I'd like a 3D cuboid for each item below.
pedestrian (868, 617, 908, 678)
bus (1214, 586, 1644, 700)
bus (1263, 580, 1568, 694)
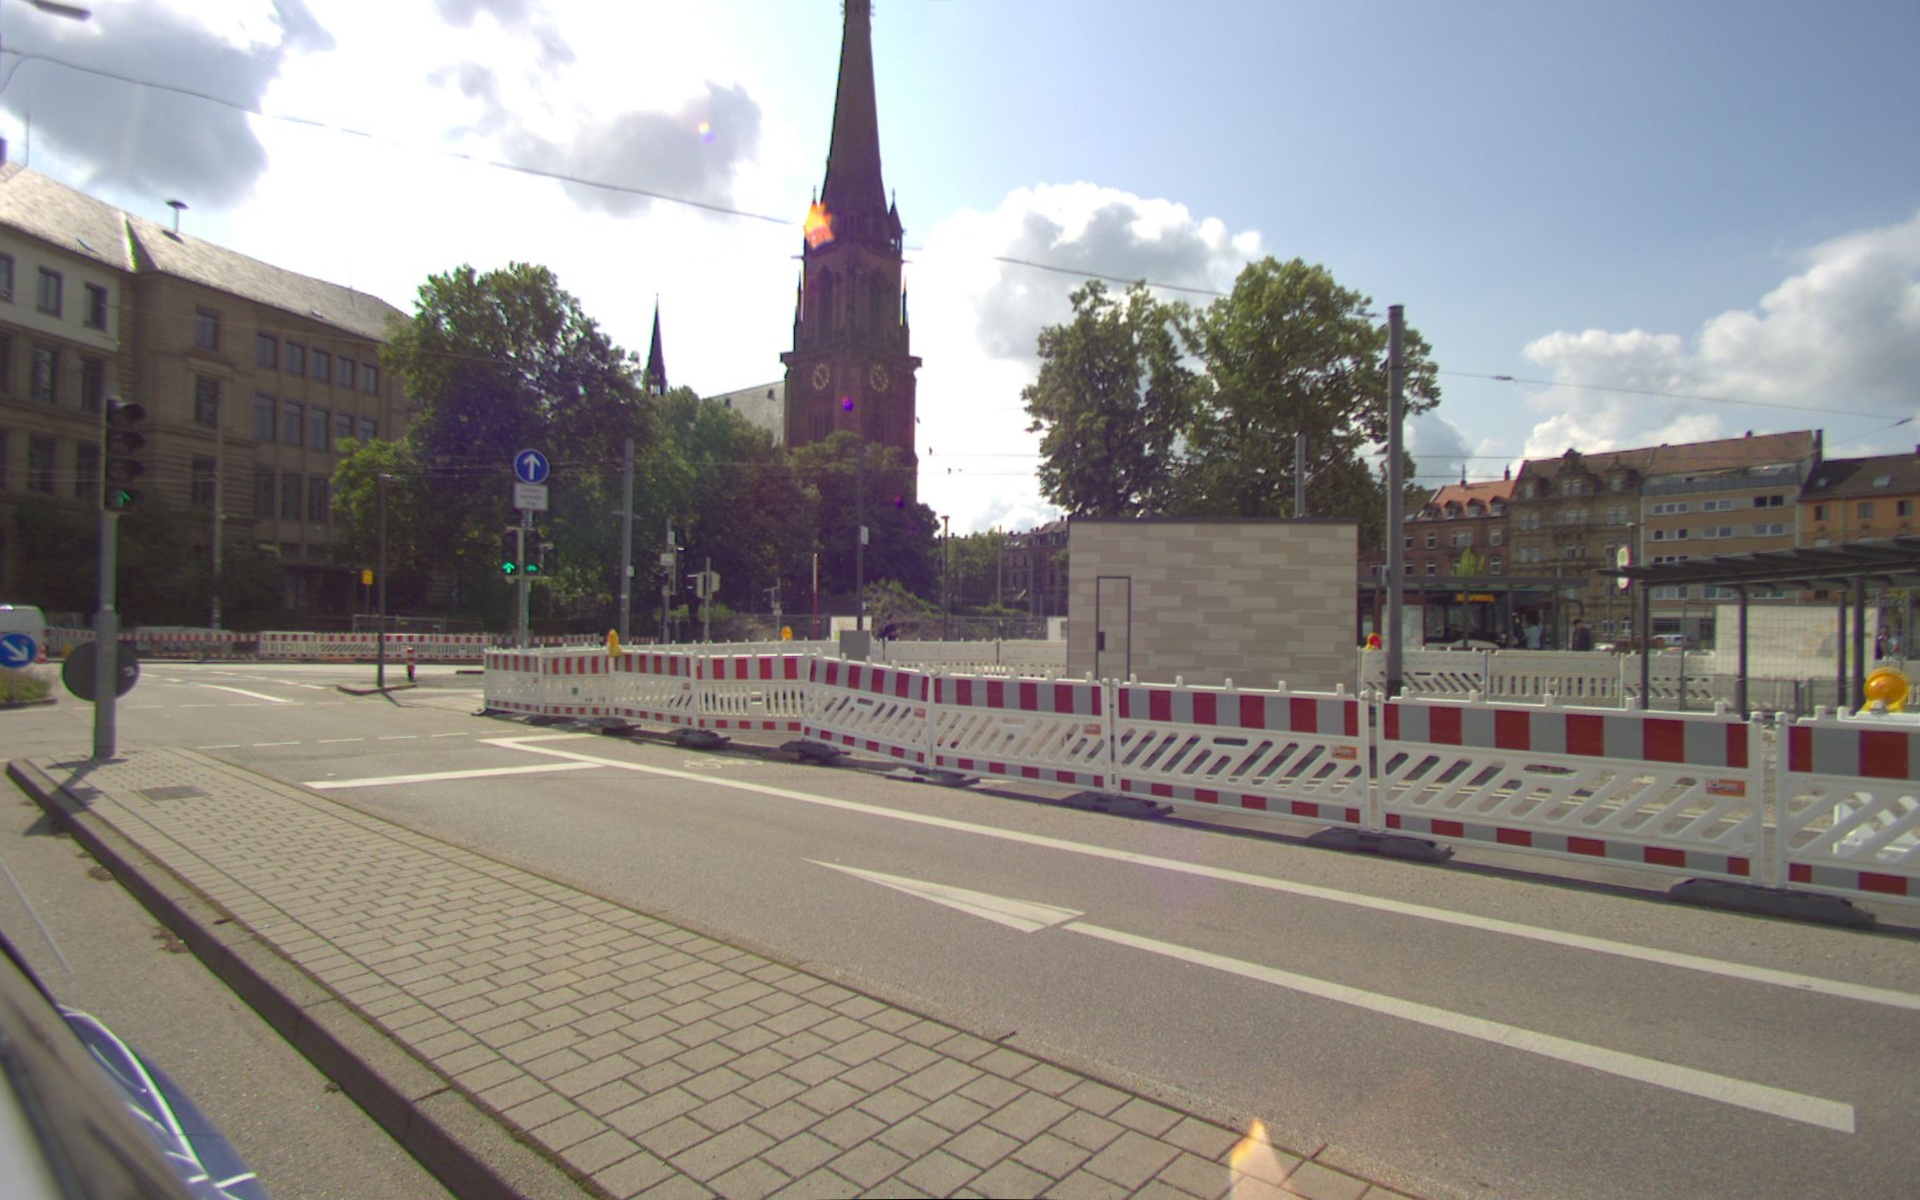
[{"bbox_3d":[-2.090,1.385,29.534,0.834,1.719,1.202,0,-2,14],"label":"pedestrian"},{"bbox_3d":[14.389,1.305,32.079,11.930,3.287,2.987,0,-2,7],"label":"bus"},{"bbox_3d":[12.960,1.048,29.385,7.670,3.081,2.369,0,-2,7],"label":"bus"}]
